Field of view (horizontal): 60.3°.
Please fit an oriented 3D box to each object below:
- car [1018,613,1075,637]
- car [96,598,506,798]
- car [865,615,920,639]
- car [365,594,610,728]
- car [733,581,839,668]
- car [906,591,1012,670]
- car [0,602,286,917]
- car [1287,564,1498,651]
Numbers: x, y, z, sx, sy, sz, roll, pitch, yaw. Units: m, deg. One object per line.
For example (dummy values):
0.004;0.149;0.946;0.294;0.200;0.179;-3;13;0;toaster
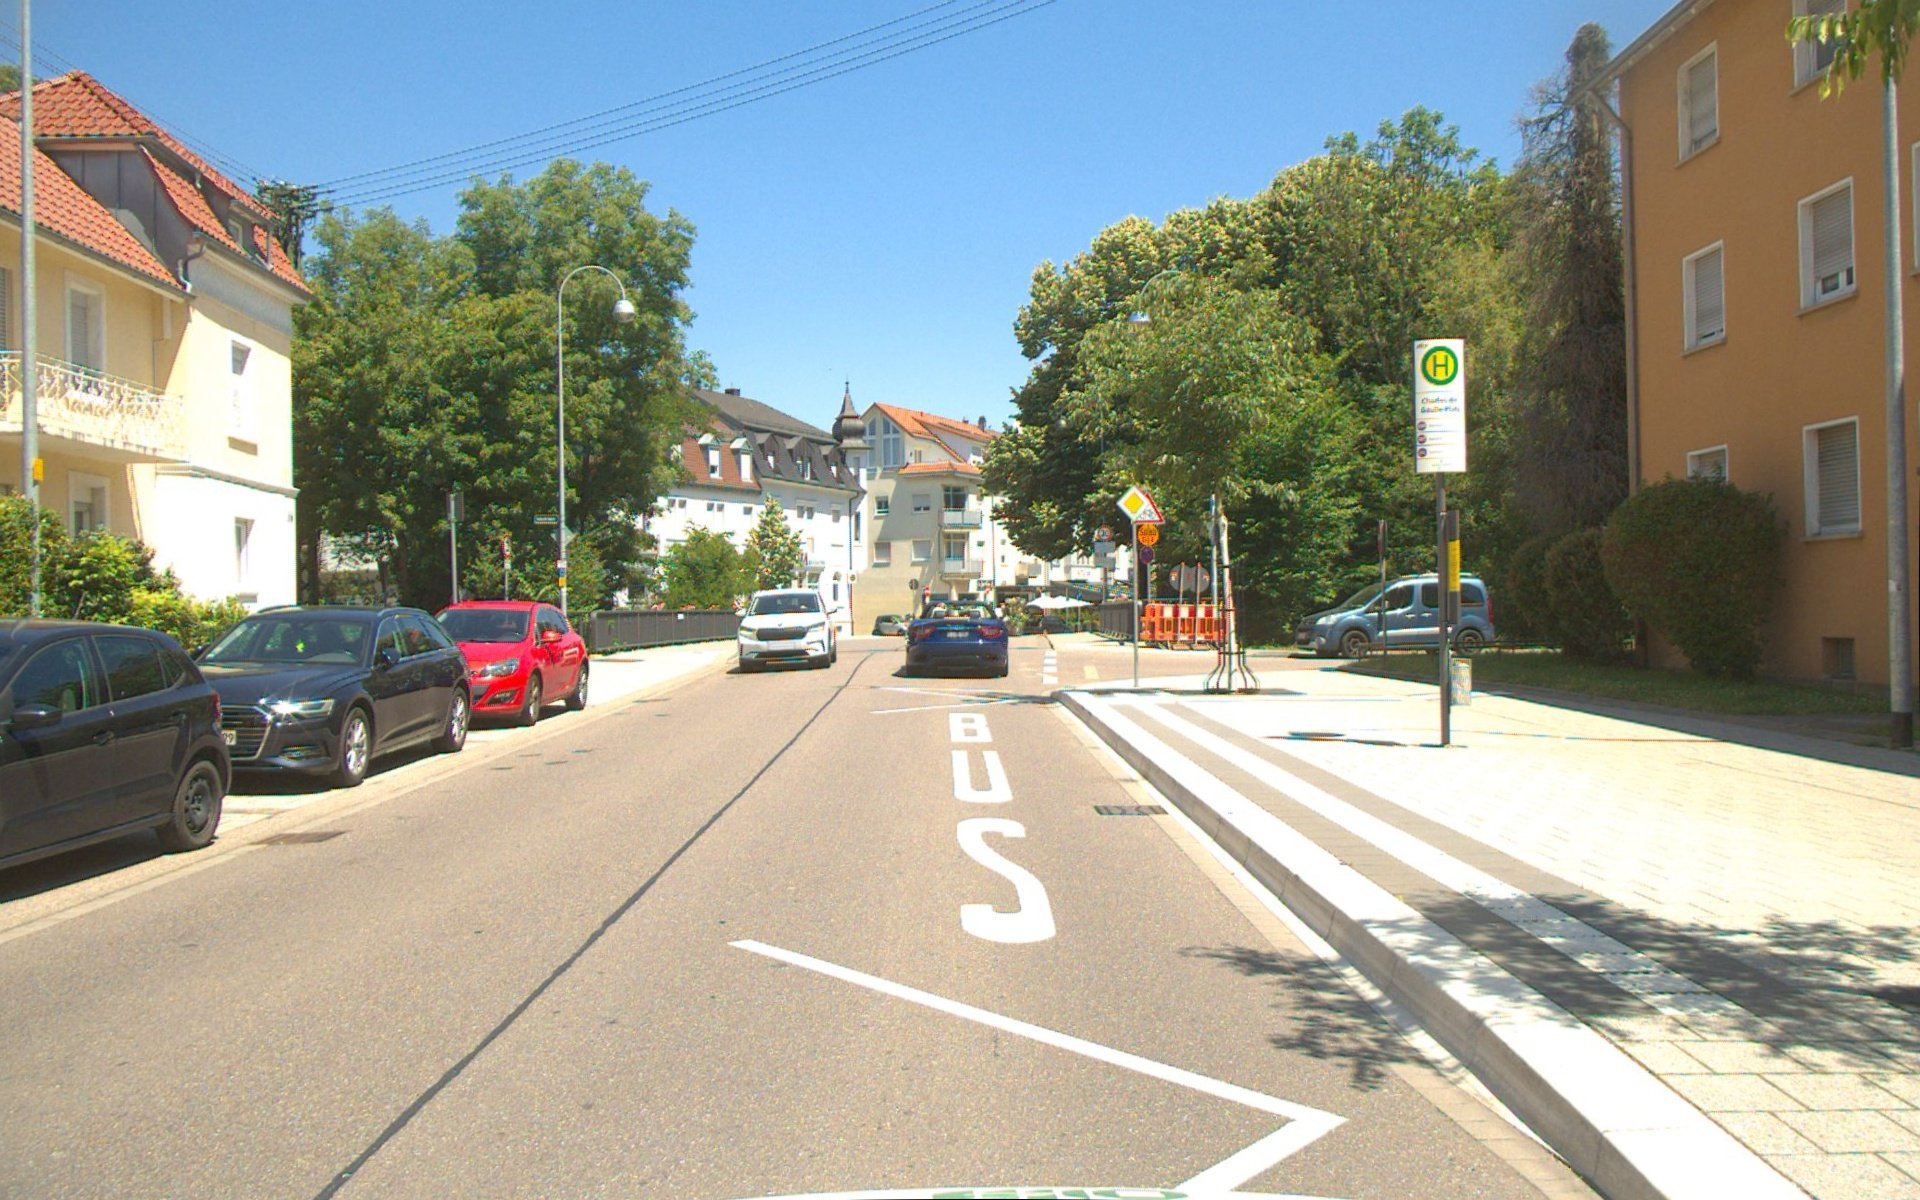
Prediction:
5.644;1.637;107.299;1.684;1.486;4.112;1;-1;37;car
-5.891;0.769;15.618;1.825;1.487;5.306;1;1;-1;car
-4.423;1.801;108.871;3.196;1.484;1.691;-2;-1;23;car
-5.974;0.704;21.537;1.839;1.505;4.737;2;0;-1;car
-3.561;0.476;34.493;1.840;1.624;4.358;-2;0;-2;car
-0.035;0.554;31.127;1.832;1.366;4.595;0;-1;-1;car
-5.596;0.805;9.191;1.750;1.484;4.199;2;1;3;car
9.650;0.183;37.010;4.257;1.871;1.746;0;-1;-9;car
